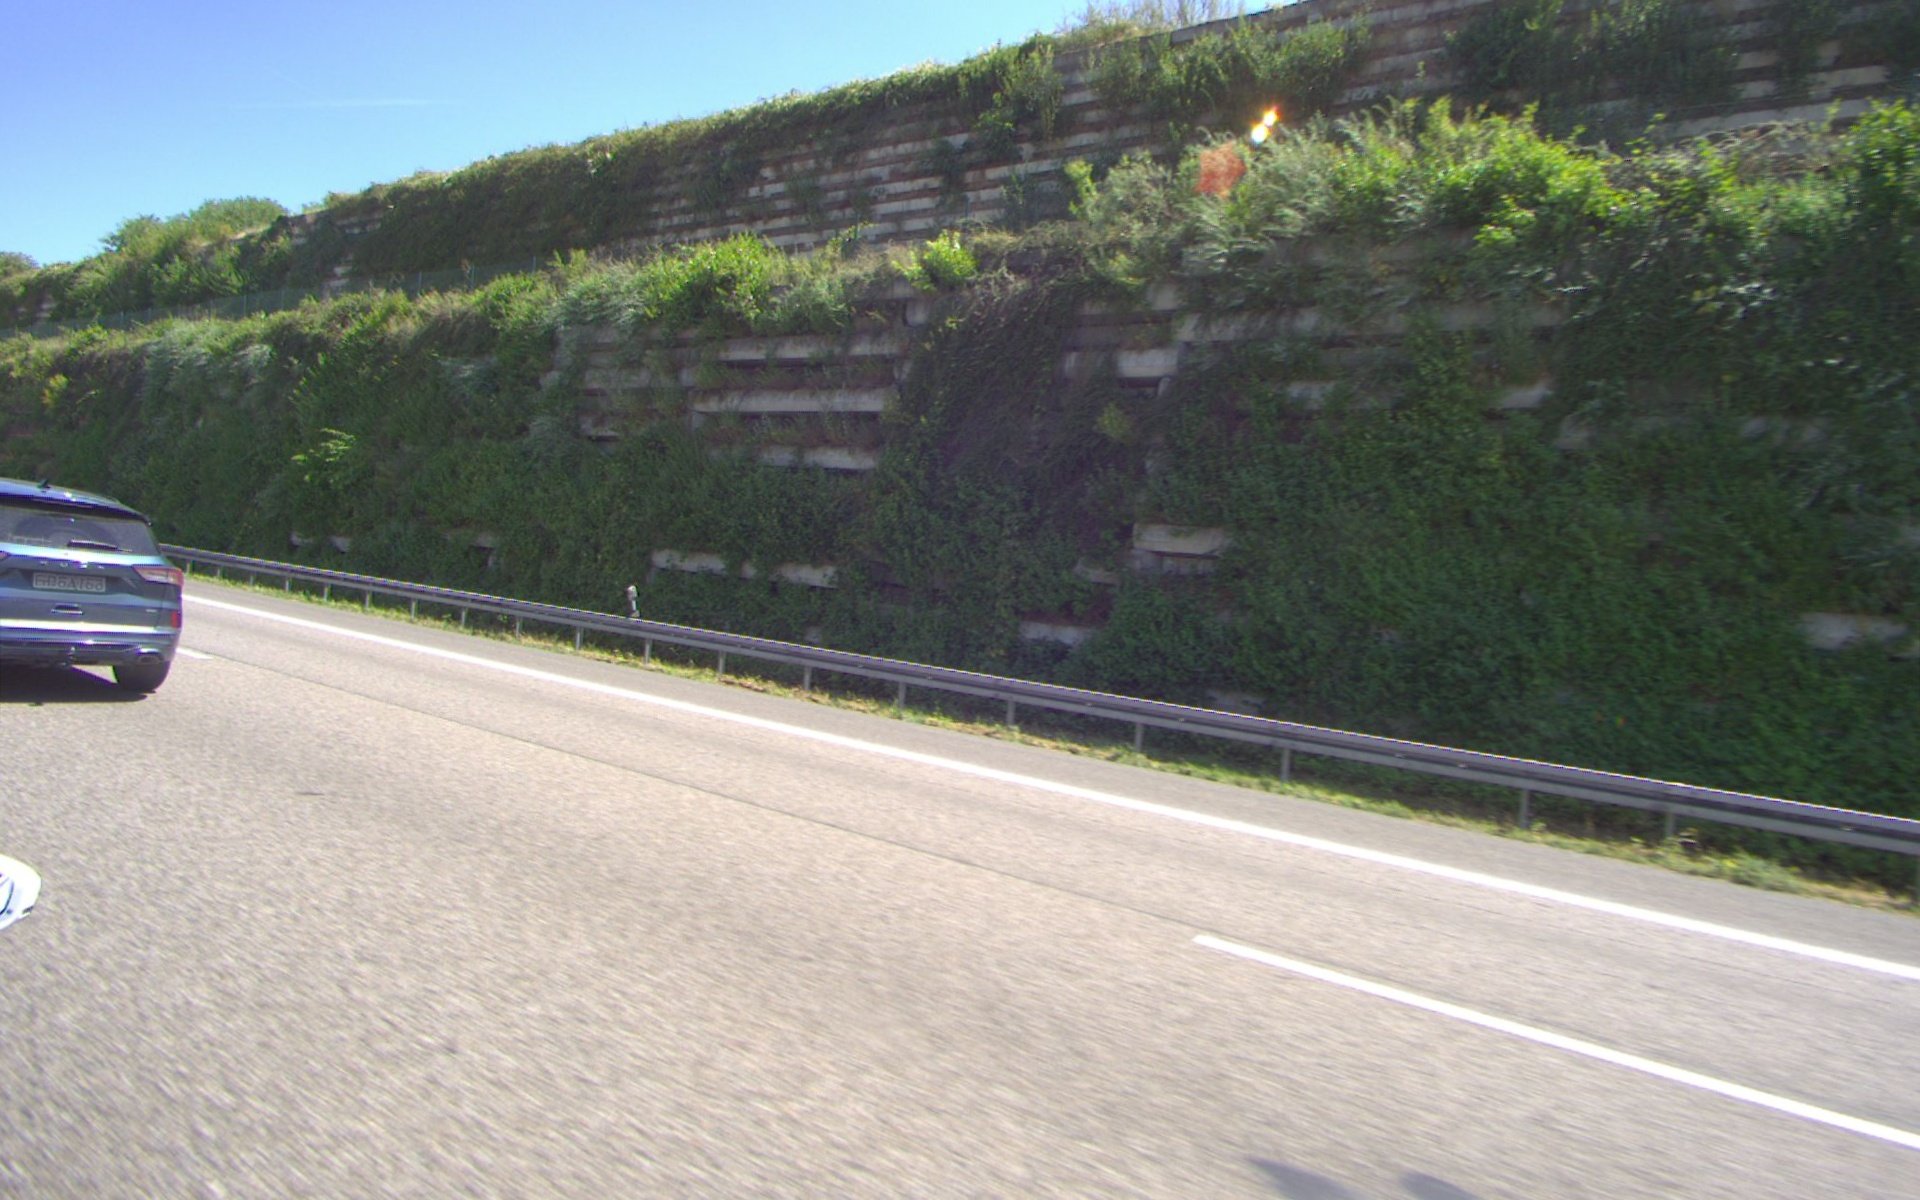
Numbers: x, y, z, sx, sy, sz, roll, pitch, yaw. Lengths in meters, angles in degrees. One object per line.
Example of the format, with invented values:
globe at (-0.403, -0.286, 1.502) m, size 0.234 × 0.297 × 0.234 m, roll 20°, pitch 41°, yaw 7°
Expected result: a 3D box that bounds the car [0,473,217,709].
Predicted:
car at (-8.361, -0.222, 8.551) m, size 4.069 × 1.673 × 1.796 m, roll 6°, pitch 0°, yaw 32°
